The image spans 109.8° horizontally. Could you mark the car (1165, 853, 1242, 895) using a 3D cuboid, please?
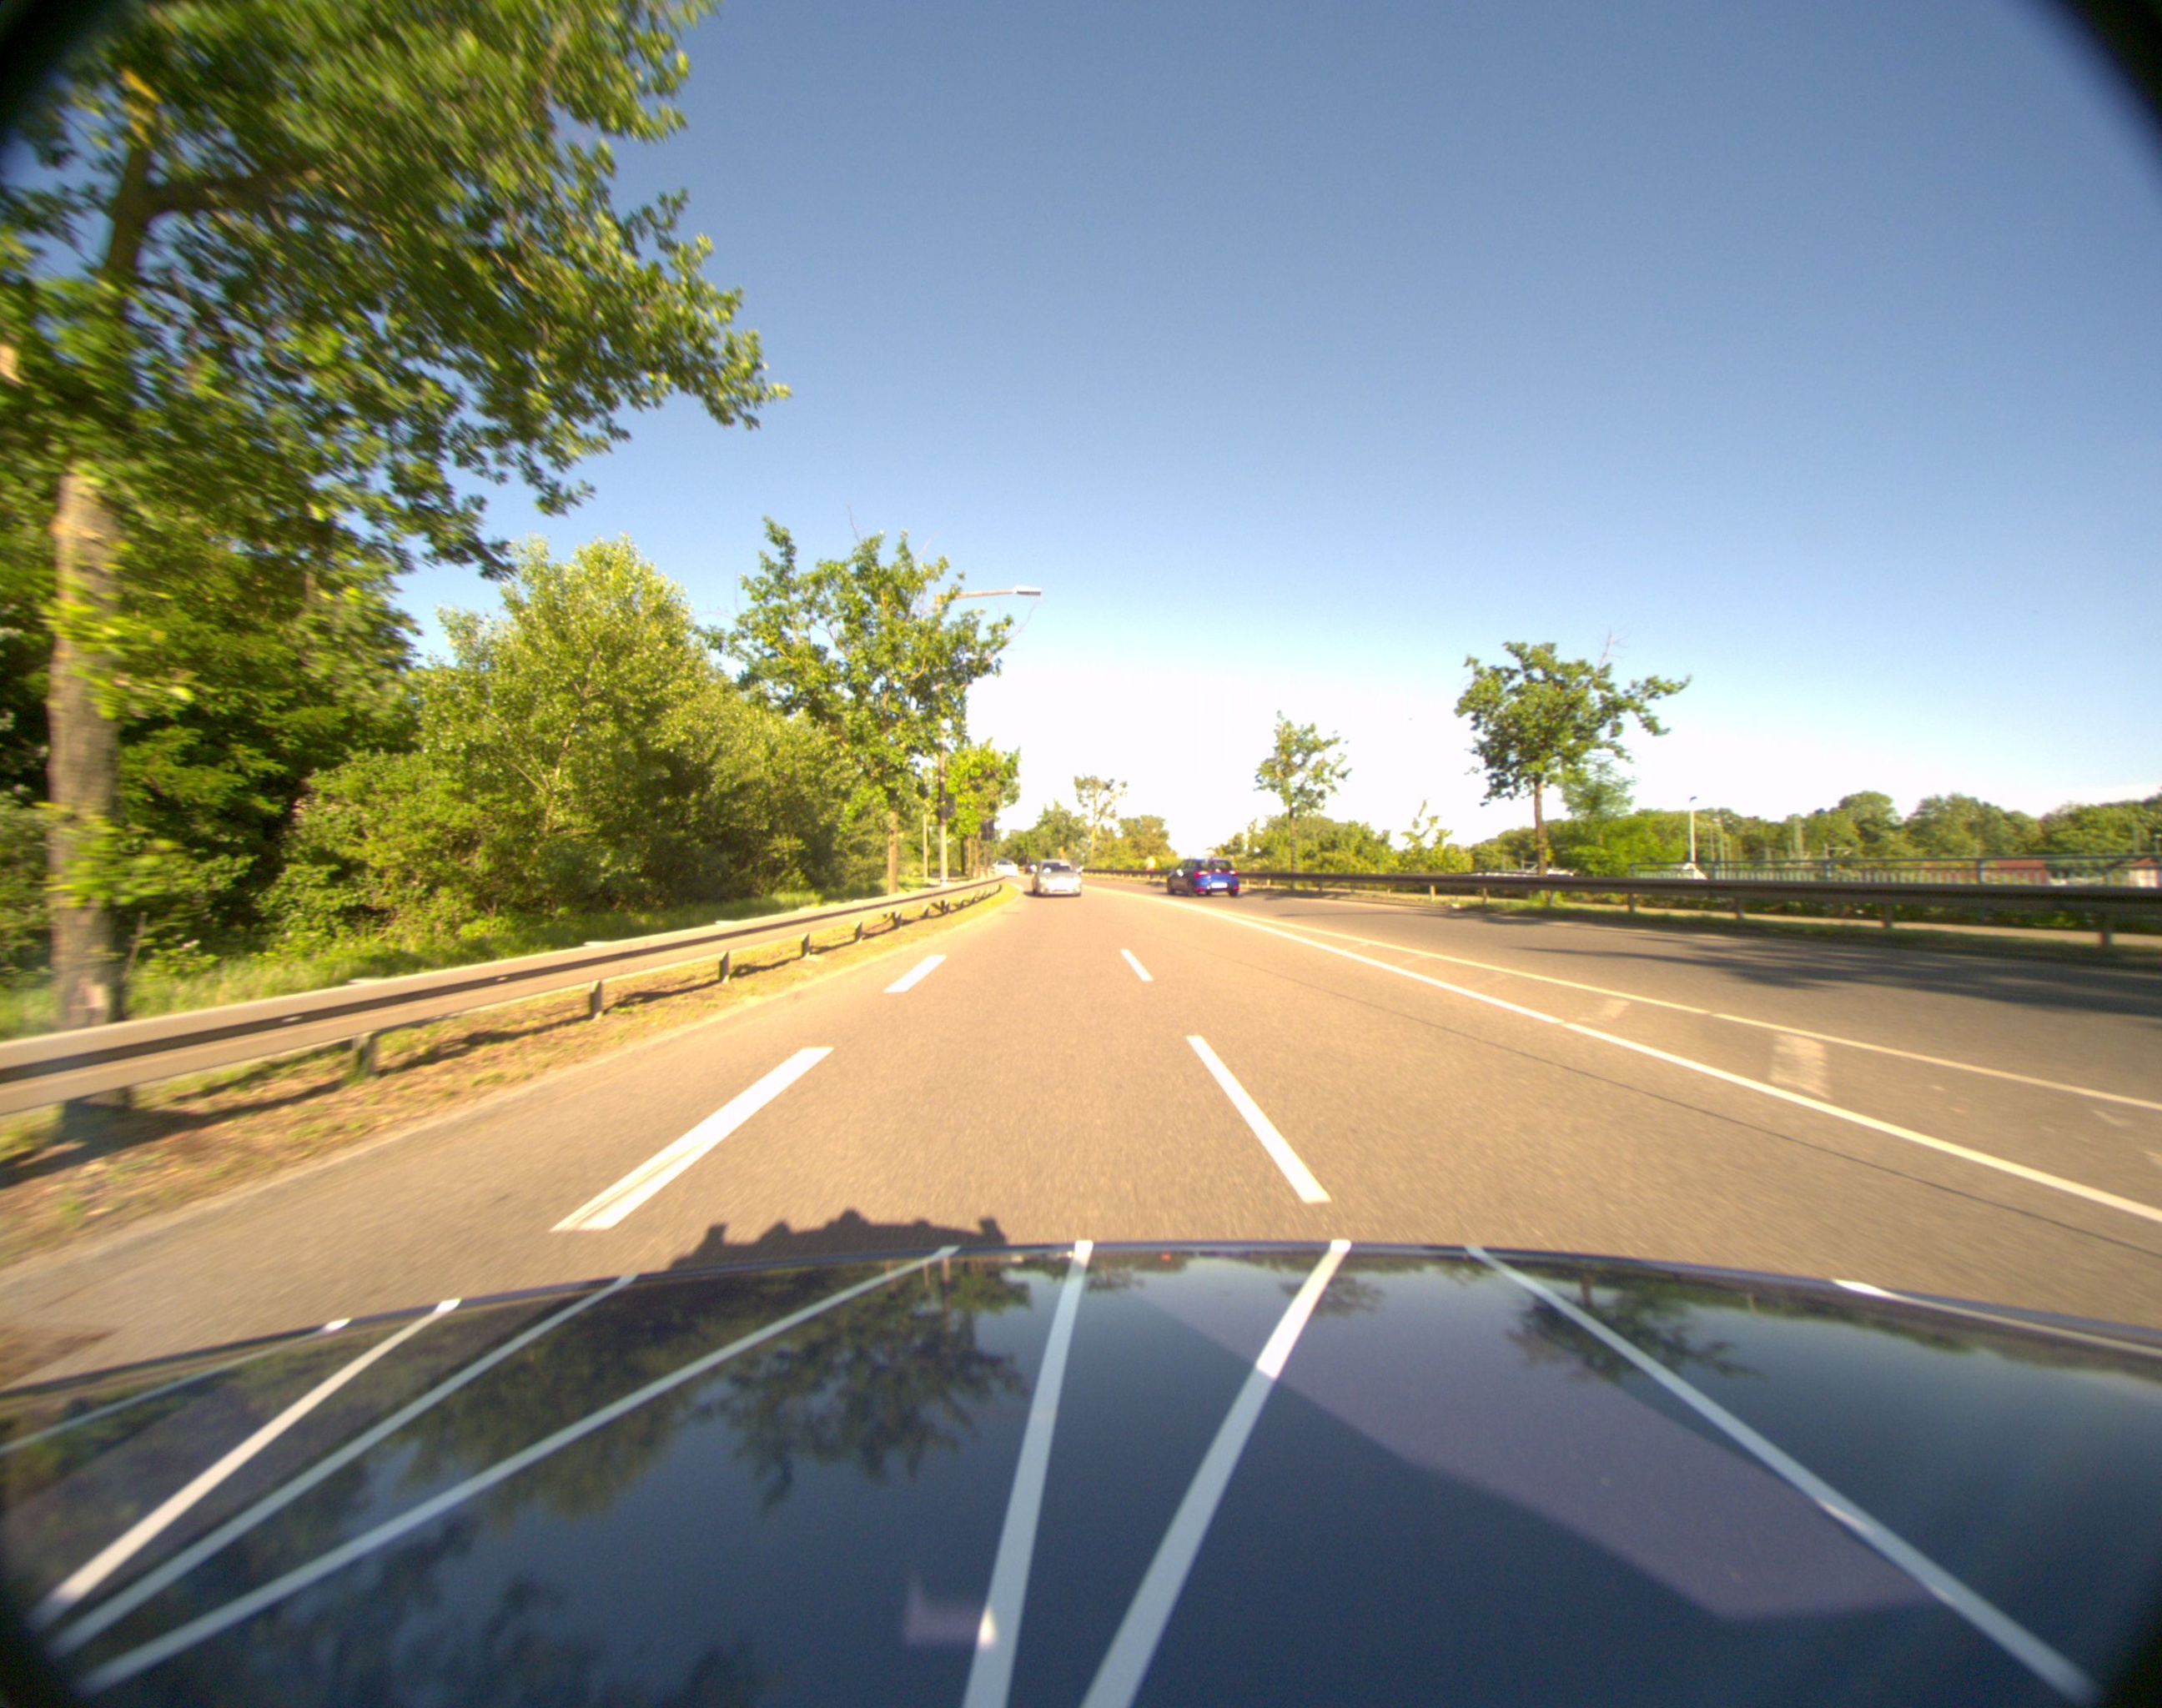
[{"bbox_3d":[4.493,0.703,28.406,1.670,1.437,3.846,-1,0,-9],"label":"car"}]

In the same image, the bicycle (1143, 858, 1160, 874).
[{"bbox_3d":[4.943,0.859,53.549,0.662,1.089,2.106,0,0,-11],"label":"bicycle"}]

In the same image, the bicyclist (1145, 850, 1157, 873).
[{"bbox_3d":[4.932,0.512,53.683,0.654,1.614,0.873,0,0,-11],"label":"bicyclist"}]

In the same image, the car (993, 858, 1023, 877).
[{"bbox_3d":[-6.407,1.185,66.691,2.152,1.558,4.193,1,0,-12],"label":"car"}]

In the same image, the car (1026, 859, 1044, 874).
[{"bbox_3d":[-5.325,1.430,87.300,1.684,1.694,3.602,0,0,-10],"label":"car"}]

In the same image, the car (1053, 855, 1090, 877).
[{"bbox_3d":[-0.737,0.825,54.861,1.816,1.488,4.364,0,0,-13],"label":"car"}]

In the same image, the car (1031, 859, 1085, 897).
[{"bbox_3d":[-0.970,0.910,30.364,1.684,1.433,3.855,0,0,-9],"label":"car"}]
